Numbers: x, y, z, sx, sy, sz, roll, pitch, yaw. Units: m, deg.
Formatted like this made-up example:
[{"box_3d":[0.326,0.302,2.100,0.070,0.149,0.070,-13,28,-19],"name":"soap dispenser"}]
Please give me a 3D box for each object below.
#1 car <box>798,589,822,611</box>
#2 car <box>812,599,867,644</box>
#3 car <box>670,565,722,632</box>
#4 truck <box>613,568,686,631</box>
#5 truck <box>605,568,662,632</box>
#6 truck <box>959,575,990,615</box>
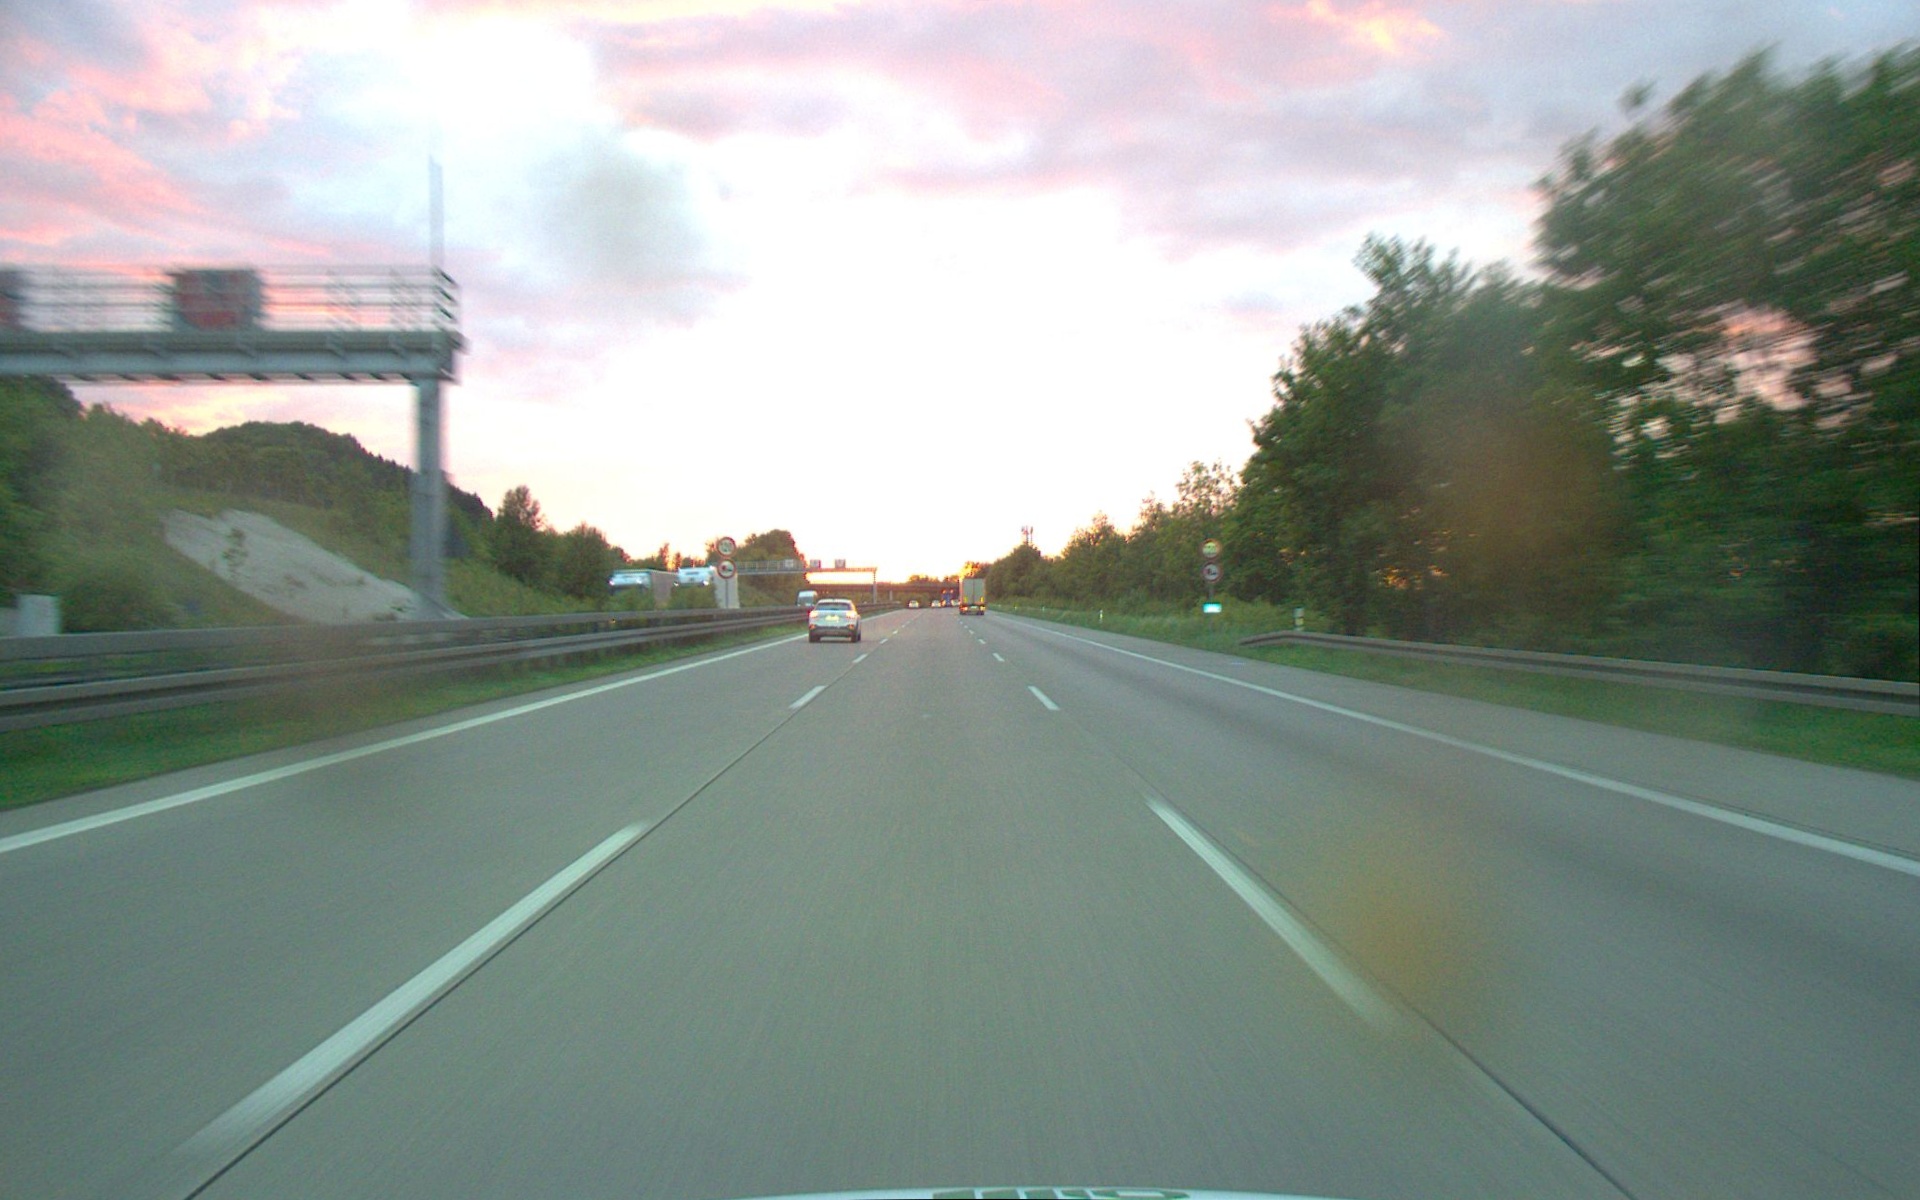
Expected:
[{"box_3d":[-15.649,0.014,172.558,1.953,2.327,6.337,0,0,-1],"name":"car"},{"box_3d":[-4.394,0.763,60.832,1.753,1.527,5.036,1,0,-1],"name":"car"},{"box_3d":[-18.356,-0.087,115.305,2.741,4.566,5.928,0,0,-1],"name":"car"},{"box_3d":[-22.604,-0.003,121.315,2.836,4.284,13.599,0,0,0],"name":"truck"},{"box_3d":[-22.572,-0.001,114.522,2.798,4.284,5.863,0,0,0],"name":"truck"},{"box_3d":[1.573,-0.506,179.196,3.178,4.199,9.787,-1,0,1],"name":"truck"}]
